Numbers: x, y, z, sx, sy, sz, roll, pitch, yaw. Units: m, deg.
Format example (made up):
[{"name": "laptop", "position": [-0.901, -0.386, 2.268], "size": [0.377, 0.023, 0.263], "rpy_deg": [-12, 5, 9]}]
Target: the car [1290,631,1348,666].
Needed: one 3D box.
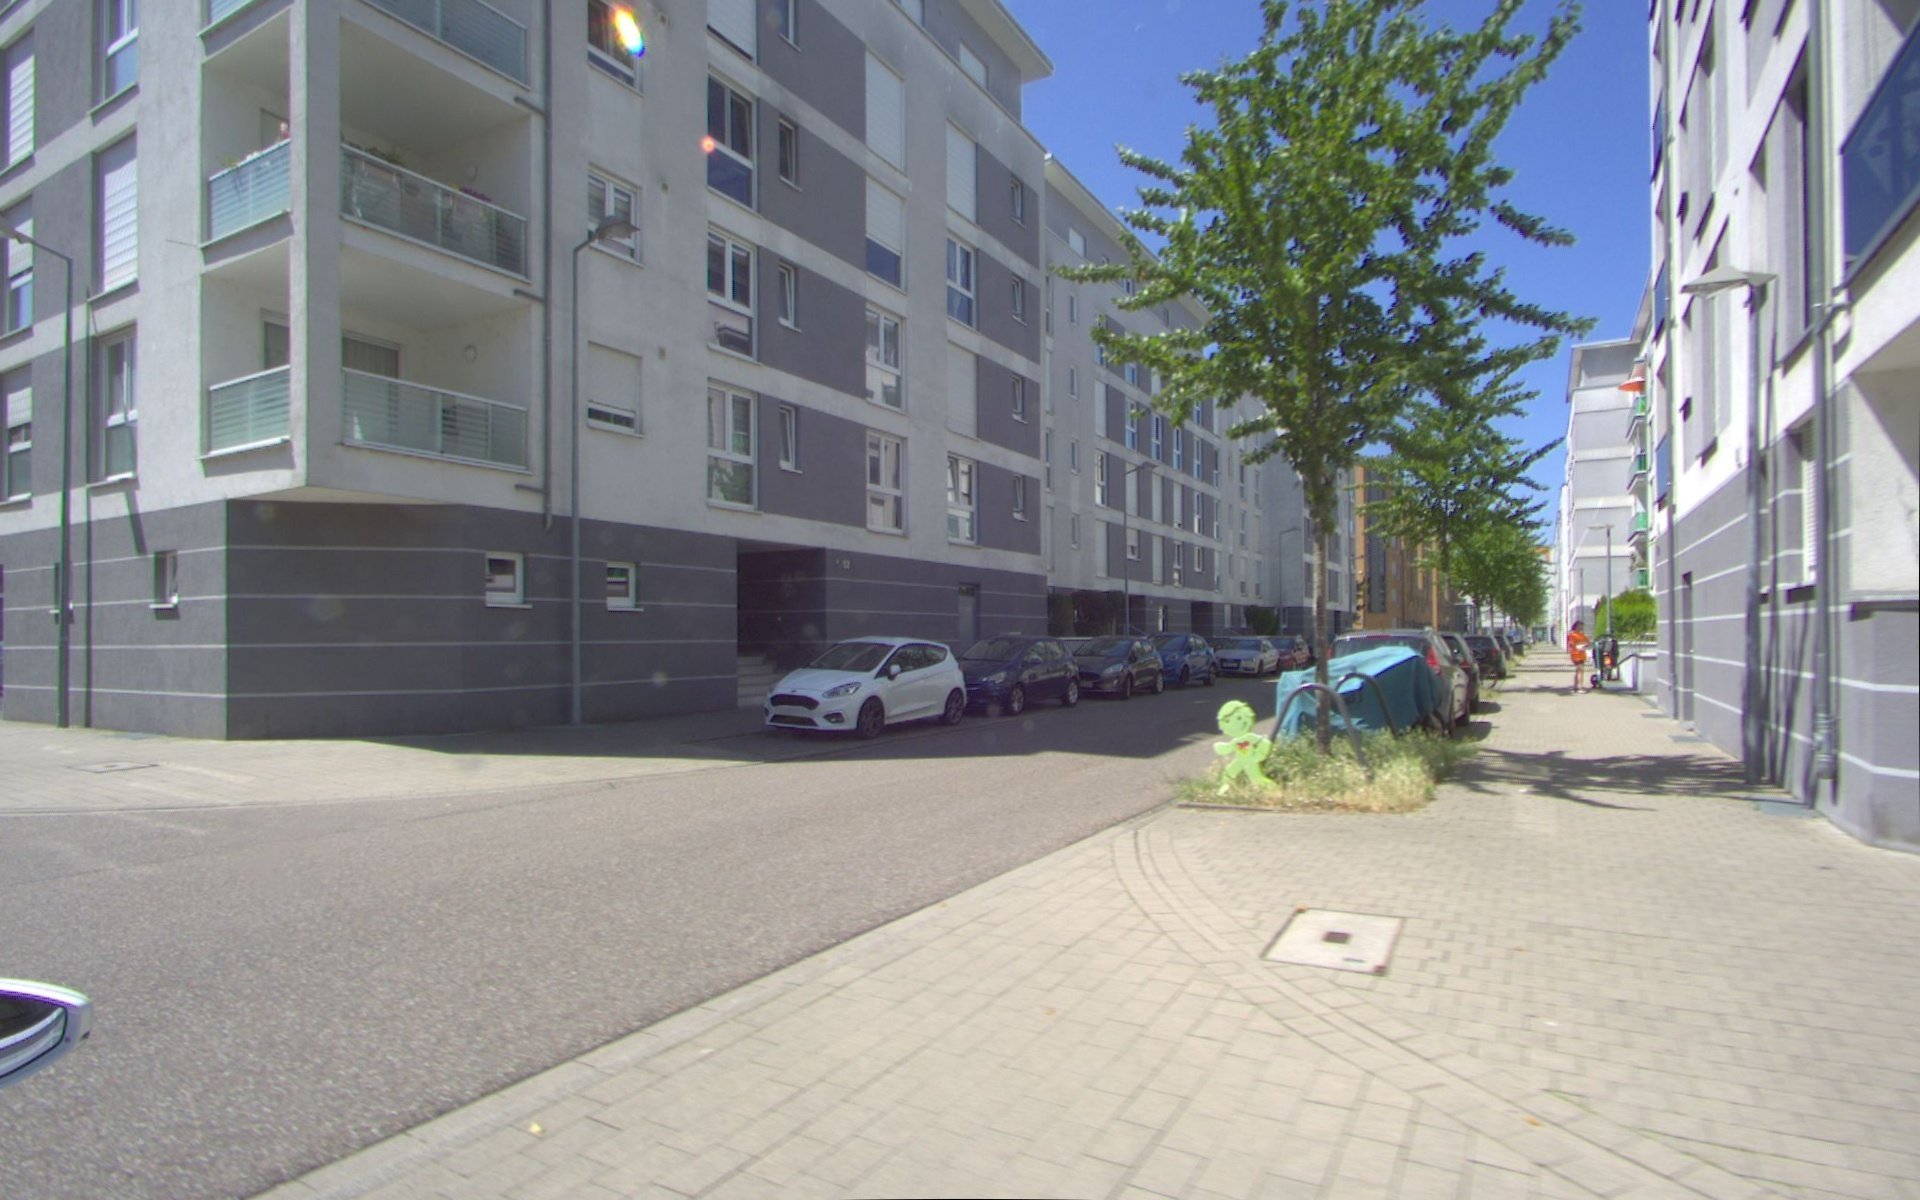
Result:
[{"name": "car", "position": [17.577, 2.353, 48.922], "size": [1.971, 1.616, 3.982], "rpy_deg": [-1, -2, 31]}]

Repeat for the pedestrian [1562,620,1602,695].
[{"name": "pedestrian", "position": [14.172, 1.299, 22.820], "size": [0.734, 1.674, 0.511], "rpy_deg": [-1, -1, 36]}]

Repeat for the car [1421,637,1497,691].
[{"name": "car", "position": [12.953, 1.605, 25.898], "size": [1.608, 1.263, 3.395], "rpy_deg": [-1, -2, 29]}]

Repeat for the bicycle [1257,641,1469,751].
[{"name": "bicycle", "position": [4.763, 1.124, 11.958], "size": [2.212, 1.254, 0.782], "rpy_deg": [0, -1, 4]}]

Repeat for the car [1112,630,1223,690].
[{"name": "car", "position": [6.023, 1.664, 28.718], "size": [1.833, 1.577, 4.266], "rpy_deg": [-1, -2, 31]}]

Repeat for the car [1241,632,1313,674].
[{"name": "car", "position": [12.939, 2.156, 40.733], "size": [1.970, 1.616, 4.187], "rpy_deg": [-1, -3, 30]}]

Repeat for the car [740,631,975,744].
[{"name": "car", "position": [-1.487, 1.271, 15.966], "size": [1.728, 1.489, 3.984], "rpy_deg": [2, -1, 29]}]

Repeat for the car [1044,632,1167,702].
[{"name": "car", "position": [3.630, 1.561, 24.430], "size": [1.804, 1.505, 3.870], "rpy_deg": [1, -1, 27]}]

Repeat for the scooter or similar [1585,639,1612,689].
[{"name": "scooter or similar", "position": [15.753, 1.569, 24.681], "size": [0.463, 1.211, 1.520], "rpy_deg": [-1, -3, 36]}]

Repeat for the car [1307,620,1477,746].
[{"name": "car", "position": [6.400, 1.139, 14.632], "size": [1.782, 1.582, 3.671], "rpy_deg": [-3, -3, 31]}]

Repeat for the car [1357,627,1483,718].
[{"name": "car", "position": [8.981, 1.328, 19.375], "size": [1.970, 1.549, 3.985], "rpy_deg": [-2, -2, 28]}]

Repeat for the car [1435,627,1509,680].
[{"name": "car", "position": [17.135, 1.752, 33.424], "size": [1.970, 1.639, 3.983], "rpy_deg": [-1, -2, 30]}]

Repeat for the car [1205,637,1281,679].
[{"name": "car", "position": [10.268, 2.039, 36.144], "size": [1.693, 1.402, 4.128], "rpy_deg": [-1, -2, 30]}]

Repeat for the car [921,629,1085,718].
[{"name": "car", "position": [0.952, 1.386, 19.940], "size": [1.702, 1.577, 3.787], "rpy_deg": [-1, -2, 31]}]

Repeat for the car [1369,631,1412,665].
[{"name": "car", "position": [26.567, 2.918, 61.746], "size": [1.971, 2.039, 3.982], "rpy_deg": [-1, -2, 31]}]

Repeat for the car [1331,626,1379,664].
[{"name": "car", "position": [22.460, 2.535, 56.880], "size": [1.971, 2.039, 3.982], "rpy_deg": [-1, -2, 31]}]

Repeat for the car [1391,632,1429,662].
[{"name": "car", "position": [31.830, 3.267, 70.767], "size": [1.971, 2.039, 3.982], "rpy_deg": [-1, -2, 31]}]

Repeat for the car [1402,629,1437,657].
[{"name": "car", "position": [34.447, 3.199, 75.041], "size": [1.971, 2.039, 3.982], "rpy_deg": [-1, -2, 31]}]

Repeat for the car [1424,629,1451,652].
[{"name": "car", "position": [46.485, 3.912, 97.474], "size": [1.971, 2.239, 3.982], "rpy_deg": [-1, -2, 31]}]

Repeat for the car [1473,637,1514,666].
[{"name": "car", "position": [25.004, 2.385, 46.900], "size": [1.608, 1.304, 3.395], "rpy_deg": [-1, -2, 29]}]
